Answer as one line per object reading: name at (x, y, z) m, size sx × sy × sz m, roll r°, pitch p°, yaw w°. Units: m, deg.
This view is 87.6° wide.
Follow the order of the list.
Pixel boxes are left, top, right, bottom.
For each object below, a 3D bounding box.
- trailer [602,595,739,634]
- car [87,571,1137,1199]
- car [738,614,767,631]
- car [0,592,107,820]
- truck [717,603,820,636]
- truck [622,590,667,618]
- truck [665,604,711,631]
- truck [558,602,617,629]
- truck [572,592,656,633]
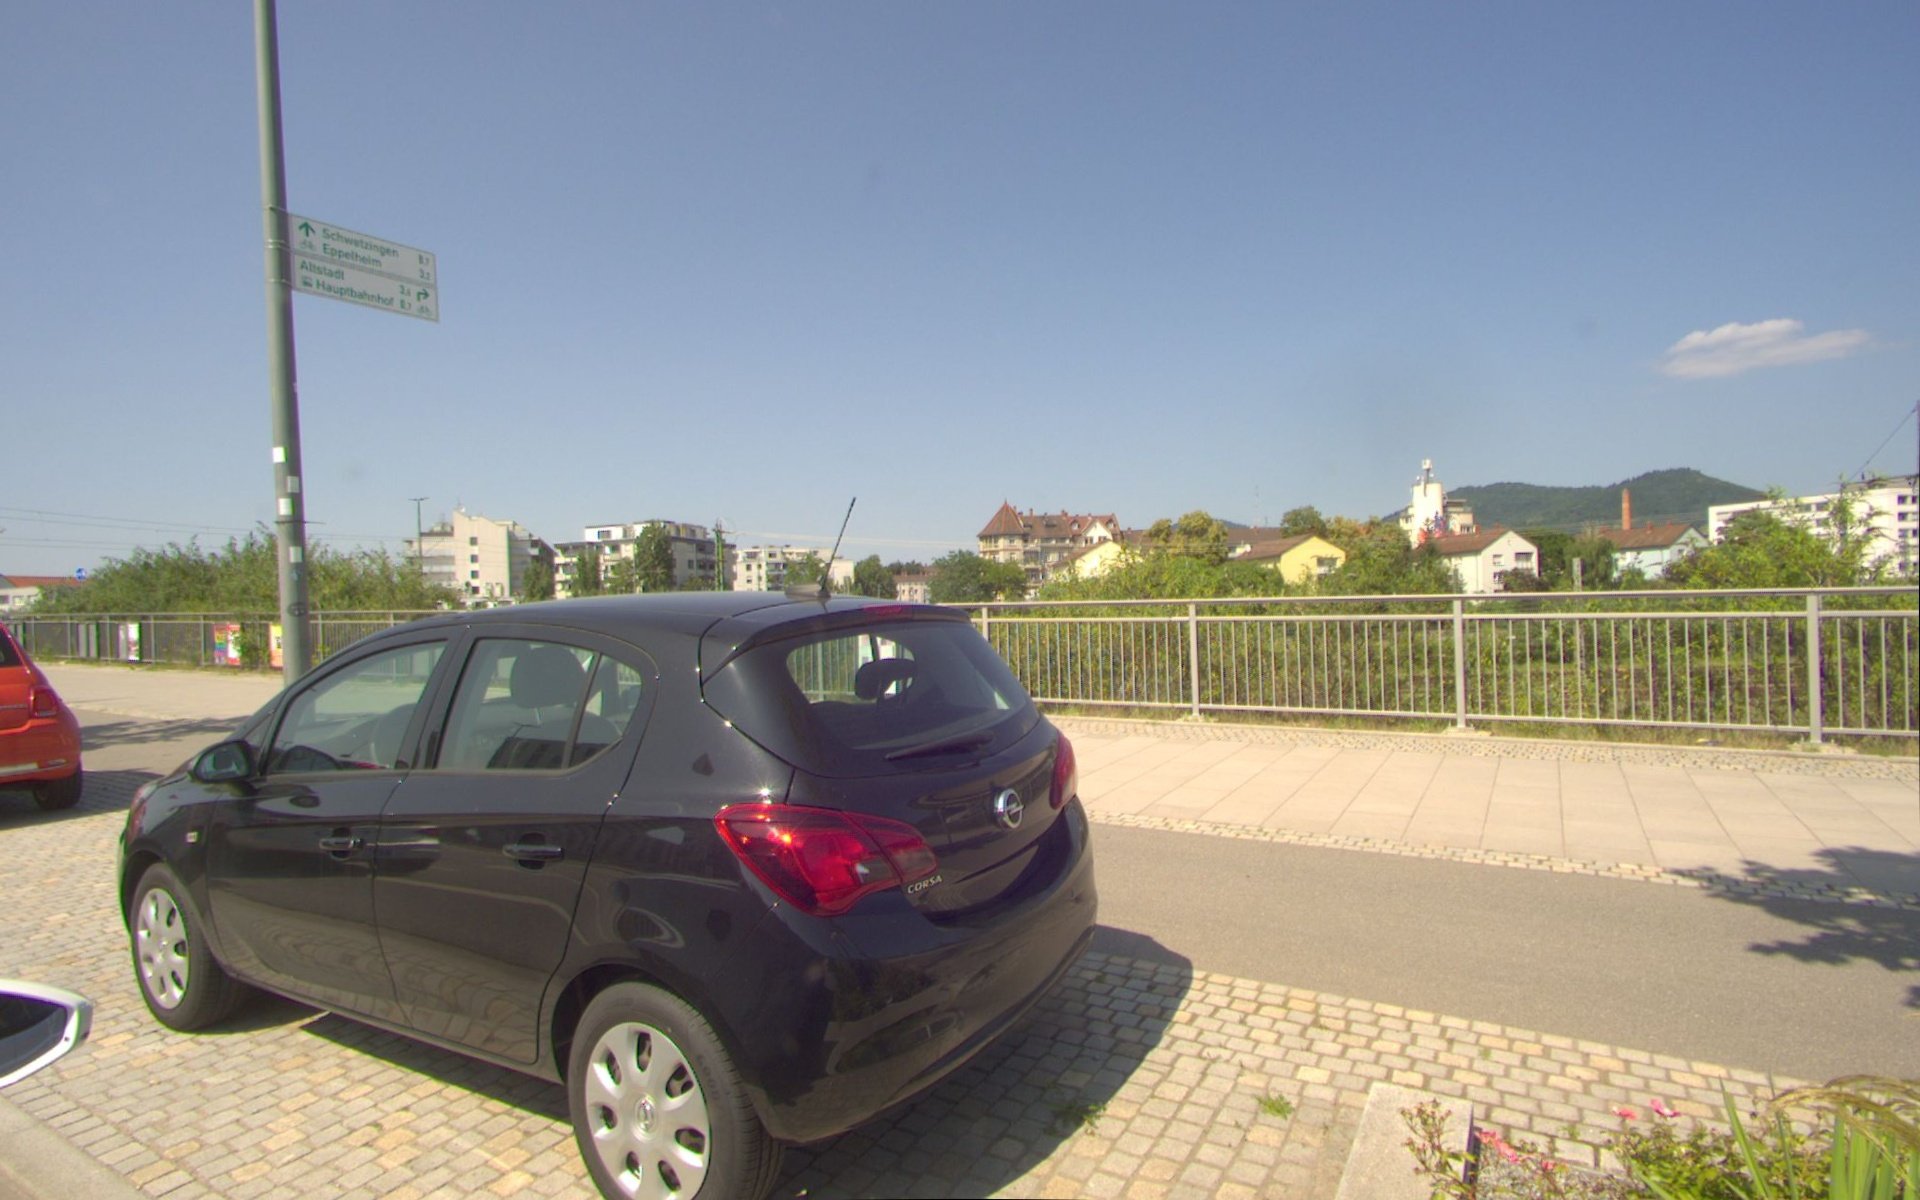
trailer at (-26.798, 1.538, 94.551) m, size 3.674 × 3.243 × 17.244 m, roll -1°, pitch -3°, yaw 17°
car at (-1.330, 0.743, 3.500) m, size 3.495 × 1.577 × 1.577 m, roll -1°, pitch 2°, yaw 32°
car at (-26.539, 2.864, 128.218) m, size 1.963 × 2.039 × 3.997 m, roll -1°, pitch -2°, yaw 16°
car at (-8.362, 0.795, 7.779) m, size 3.864 × 1.560 × 1.664 m, roll -2°, pitch 1°, yaw 35°
truck at (-21.296, 2.340, 113.668) m, size 3.674 × 3.243 × 17.876 m, roll -1°, pitch -3°, yaw 17°
truck at (-31.033, 0.425, 98.730) m, size 1.964 × 2.572 × 4.705 m, roll -1°, pitch -2°, yaw 16°
truck at (-30.580, 1.992, 112.617) m, size 2.081 × 2.919 × 5.866 m, roll -1°, pitch -2°, yaw 19°
truck at (-35.314, 1.547, 95.148) m, size 2.081 × 2.396 × 5.866 m, roll -1°, pitch -2°, yaw 19°
truck at (-29.482, 1.171, 85.637) m, size 3.672 × 3.244 × 6.485 m, roll -1°, pitch -2°, yaw 17°
